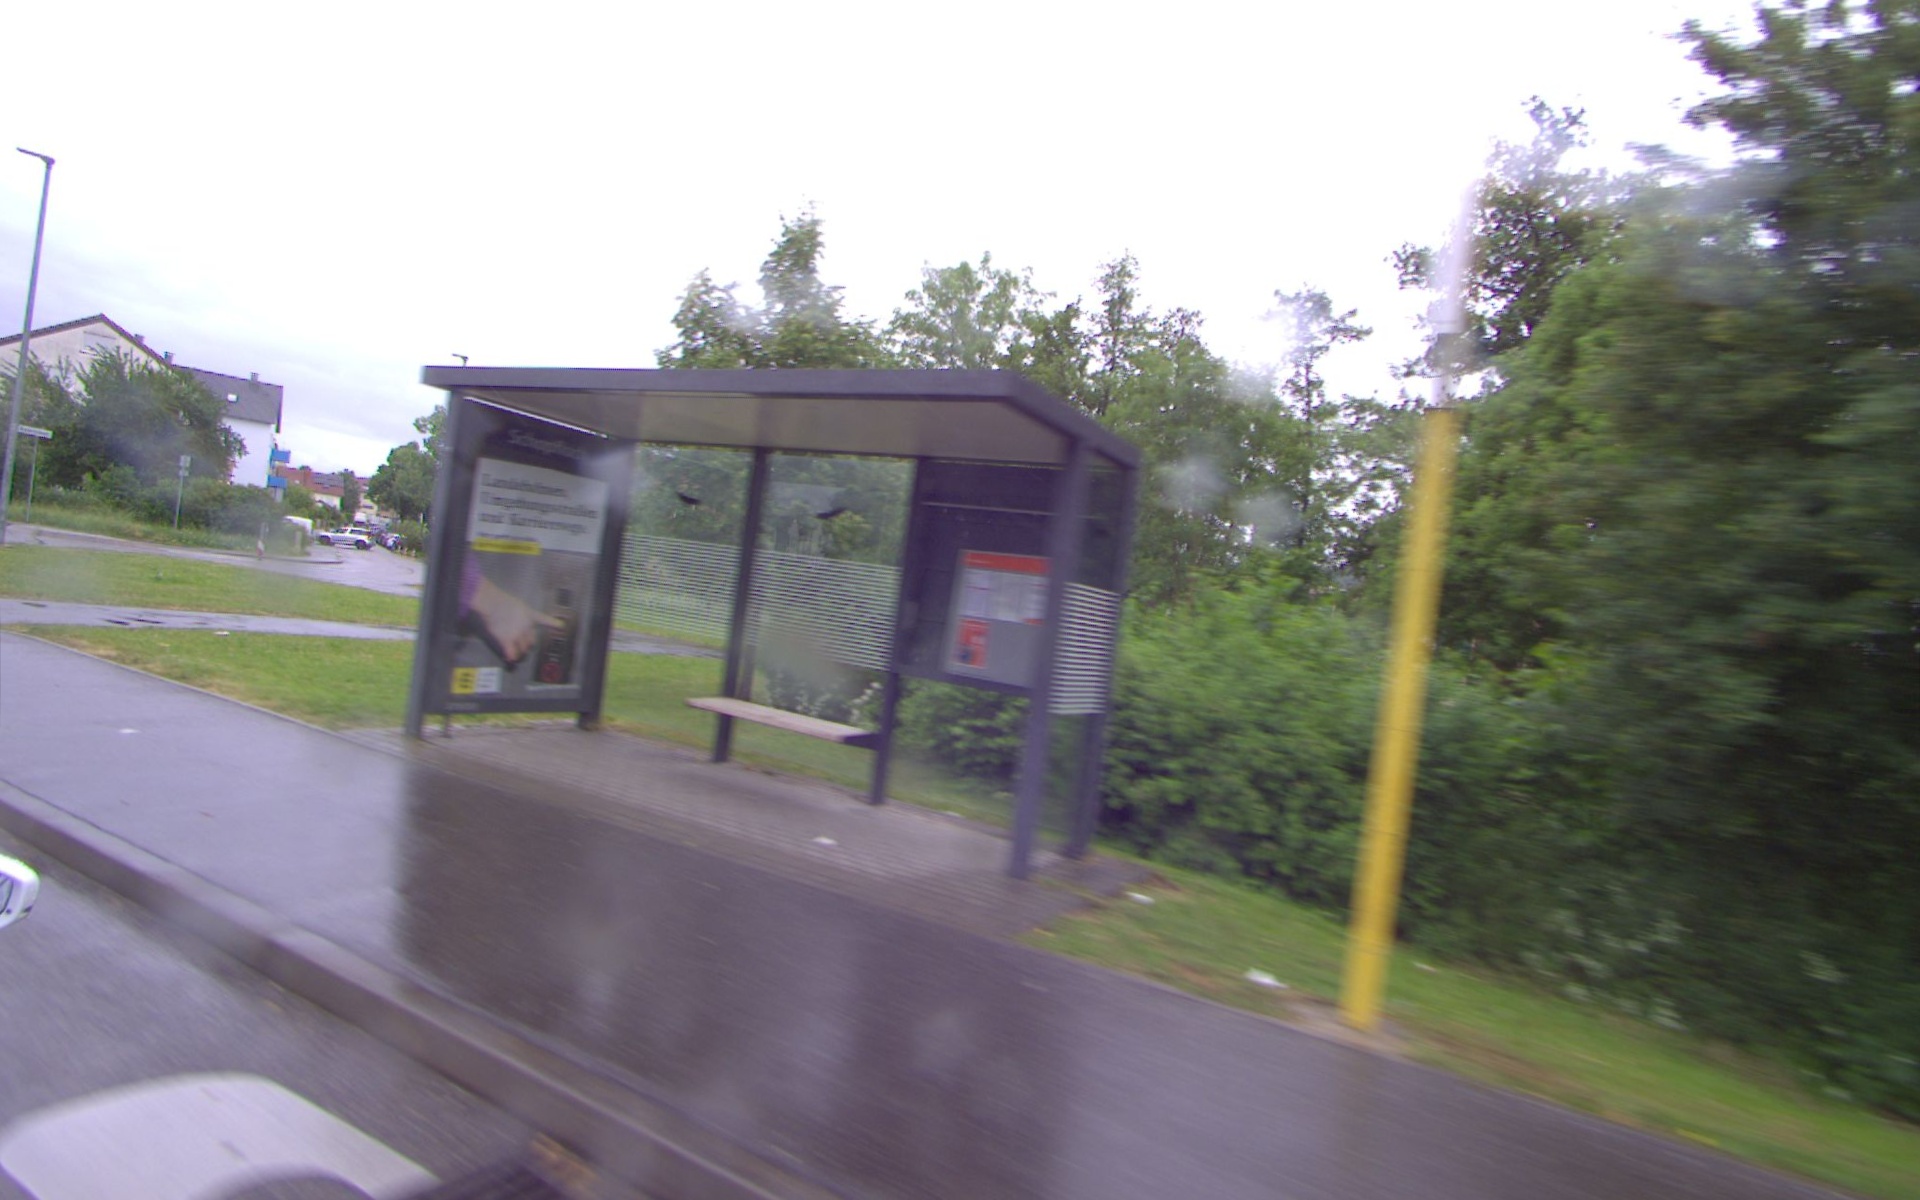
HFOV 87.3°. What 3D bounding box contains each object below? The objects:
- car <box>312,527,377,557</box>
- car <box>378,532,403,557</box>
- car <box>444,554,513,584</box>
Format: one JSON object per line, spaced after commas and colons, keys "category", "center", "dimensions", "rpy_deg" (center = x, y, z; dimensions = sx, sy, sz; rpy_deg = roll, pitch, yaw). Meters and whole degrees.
{"category": "car", "center": [-49.187, -4.634, 80.526], "dimensions": [3.941, 1.849, 1.890], "rpy_deg": [7, 0, -18]}
{"category": "car", "center": [-51.889, -5.050, 91.698], "dimensions": [1.570, 2.038, 3.973], "rpy_deg": [7, 0, -27]}
{"category": "car", "center": [-32.284, -2.085, 67.459], "dimensions": [3.961, 1.390, 1.769], "rpy_deg": [9, -1, -32]}
